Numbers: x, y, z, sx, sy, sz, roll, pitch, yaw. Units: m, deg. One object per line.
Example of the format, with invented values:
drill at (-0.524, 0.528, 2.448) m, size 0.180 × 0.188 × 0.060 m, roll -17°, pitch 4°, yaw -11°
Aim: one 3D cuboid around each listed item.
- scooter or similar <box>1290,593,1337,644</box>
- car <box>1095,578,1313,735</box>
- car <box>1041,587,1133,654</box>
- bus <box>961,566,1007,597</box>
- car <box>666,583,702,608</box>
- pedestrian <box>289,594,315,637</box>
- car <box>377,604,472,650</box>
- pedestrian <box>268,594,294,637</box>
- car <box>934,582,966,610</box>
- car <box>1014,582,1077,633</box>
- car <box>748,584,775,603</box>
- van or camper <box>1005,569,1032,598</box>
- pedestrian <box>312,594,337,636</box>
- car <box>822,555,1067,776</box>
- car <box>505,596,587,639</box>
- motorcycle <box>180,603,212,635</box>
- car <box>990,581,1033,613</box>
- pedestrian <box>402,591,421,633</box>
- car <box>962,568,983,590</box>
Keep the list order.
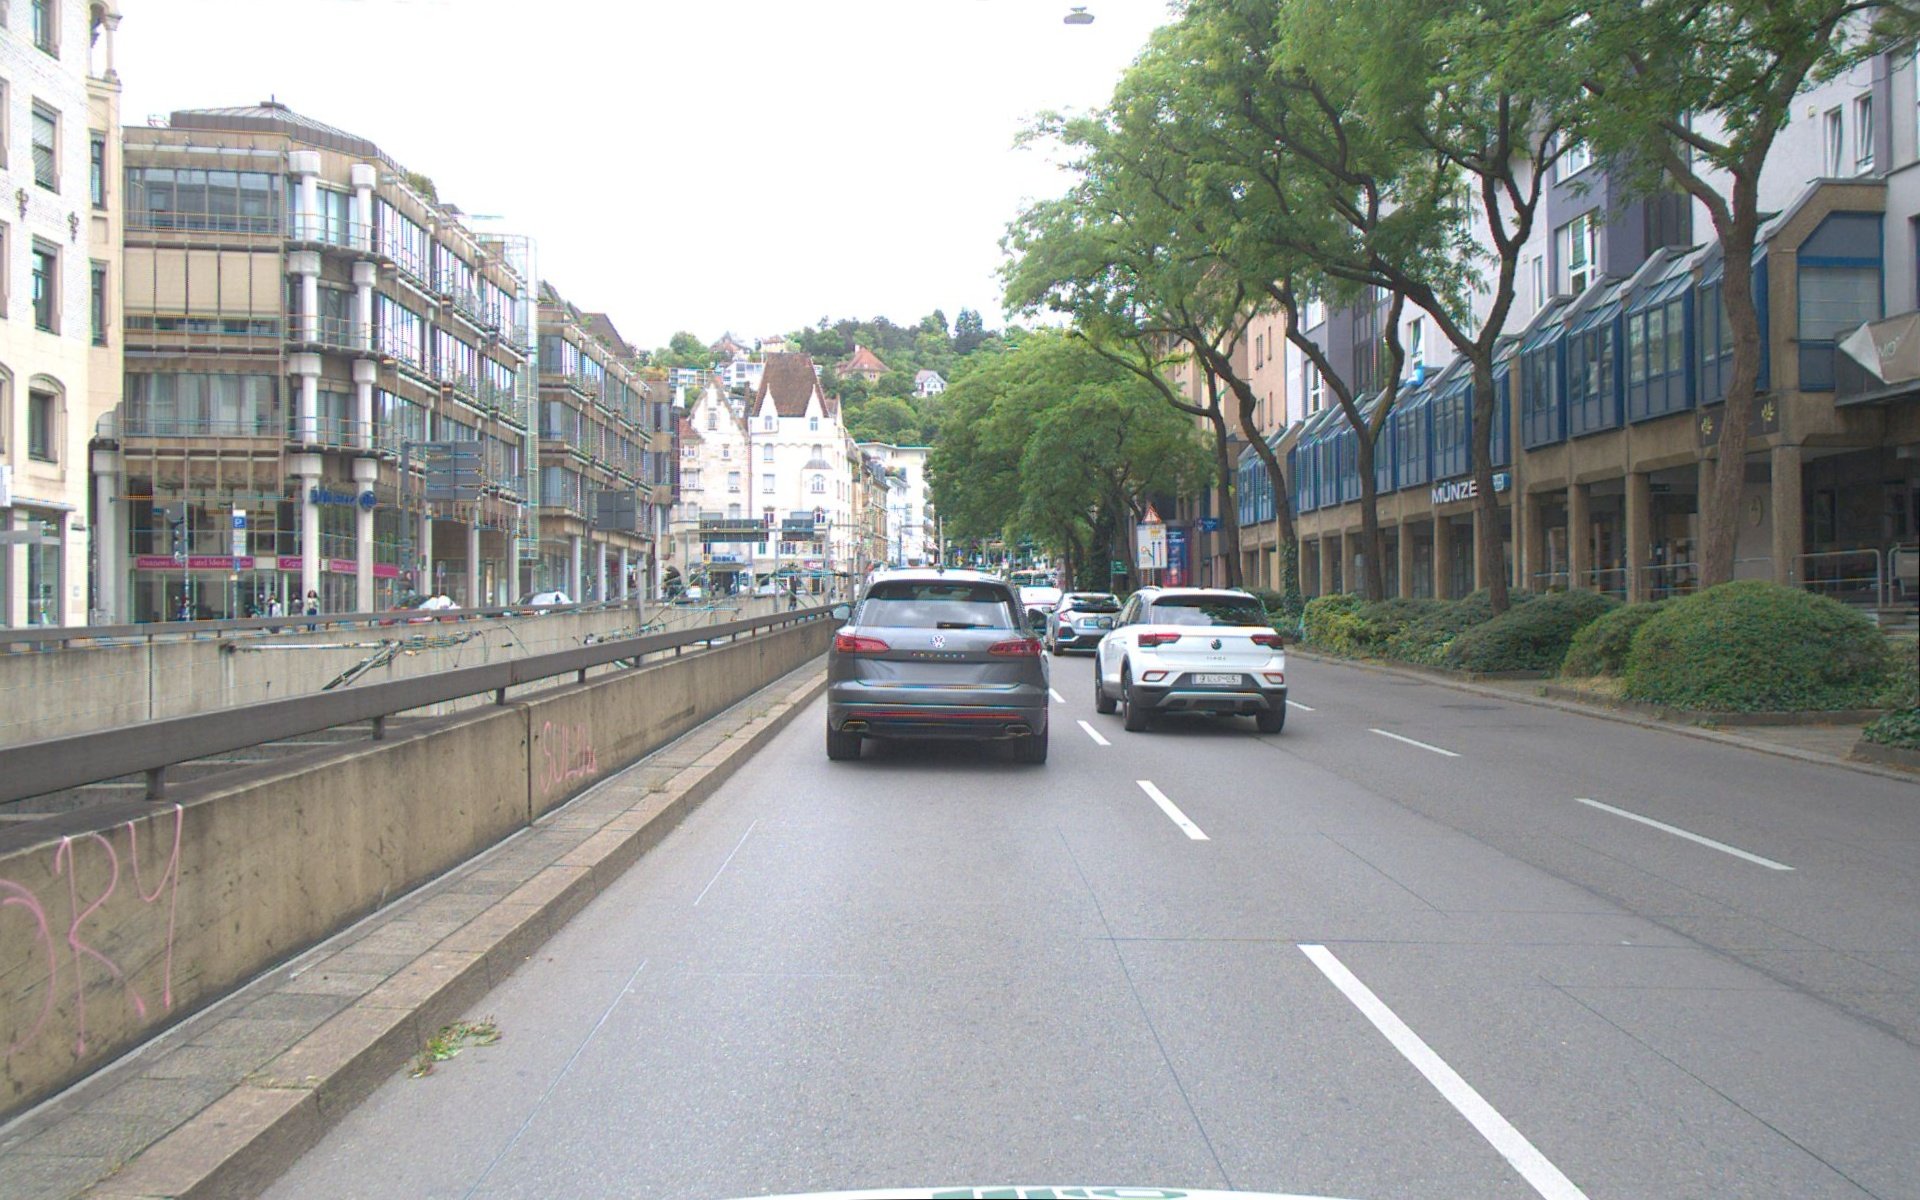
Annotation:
scooter or similar at (8.683, 0.460, 40.620) m, size 1.083 × 1.202 × 0.428 m, roll -2°, pitch 0°, yaw 10°
car at (2.699, 0.604, 19.157) m, size 1.761 × 1.572 × 3.933 m, roll 2°, pitch -1°, yaw -2°
car at (2.890, 0.476, 38.375) m, size 1.796 × 1.457 × 4.147 m, roll 0°, pitch -1°, yaw -1°
bus at (3.049, -2.267, 202.064) m, size 3.768 × 3.593 × 17.259 m, roll -1°, pitch 1°, yaw 7°
car at (-20.153, -0.355, 120.906) m, size 1.953 × 1.798 × 4.280 m, roll -1°, pitch 1°, yaw -1°
pedestrian at (-24.641, 0.564, 61.960) m, size 0.687 × 1.571 × 0.845 m, roll -1°, pitch 0°, yaw -8°
car at (-18.825, 0.921, 58.406) m, size 1.954 × 1.490 × 4.883 m, roll -1°, pitch 1°, yaw -3°
pedestrian at (-25.387, 0.583, 61.844) m, size 0.687 × 1.571 × 0.845 m, roll -1°, pitch 0°, yaw -8°
car at (-0.616, -0.239, 97.899) m, size 1.795 × 1.594 × 3.766 m, roll -2°, pitch 0°, yaw -2°
car at (2.718, 0.215, 53.365) m, size 1.794 × 1.544 × 3.767 m, roll -1°, pitch 0°, yaw 0°
car at (-18.688, -0.617, 155.877) m, size 1.953 × 1.798 × 4.280 m, roll -1°, pitch 1°, yaw -1°
van or camper at (6.542, -1.876, 185.565) m, size 2.574 × 3.234 × 5.801 m, roll -1°, pitch 1°, yaw -2°
pedestrian at (-23.863, 0.550, 62.090) m, size 0.687 × 1.571 × 0.845 m, roll -1°, pitch 0°, yaw -8°
car at (-0.177, 0.502, 15.493) m, size 1.930 × 1.725 × 4.223 m, roll -2°, pitch 1°, yaw -2°
car at (-16.790, 0.689, 67.320) m, size 1.952 × 1.613 × 4.889 m, roll -1°, pitch 1°, yaw 2°
motorcycle at (-31.676, 0.759, 68.577) m, size 0.778 × 1.279 × 1.932 m, roll 0°, pitch 1°, yaw -13°
car at (2.323, -0.143, 75.665) m, size 1.795 × 1.387 × 3.766 m, roll -2°, pitch 0°, yaw -1°
pedestrian at (-23.706, 0.511, 71.475) m, size 0.521 × 1.824 × 0.694 m, roll 2°, pitch 0°, yaw 0°
car at (1.121, -1.900, 149.299) m, size 1.794 × 1.907 × 4.871 m, roll -2°, pitch 0°, yaw 1°
